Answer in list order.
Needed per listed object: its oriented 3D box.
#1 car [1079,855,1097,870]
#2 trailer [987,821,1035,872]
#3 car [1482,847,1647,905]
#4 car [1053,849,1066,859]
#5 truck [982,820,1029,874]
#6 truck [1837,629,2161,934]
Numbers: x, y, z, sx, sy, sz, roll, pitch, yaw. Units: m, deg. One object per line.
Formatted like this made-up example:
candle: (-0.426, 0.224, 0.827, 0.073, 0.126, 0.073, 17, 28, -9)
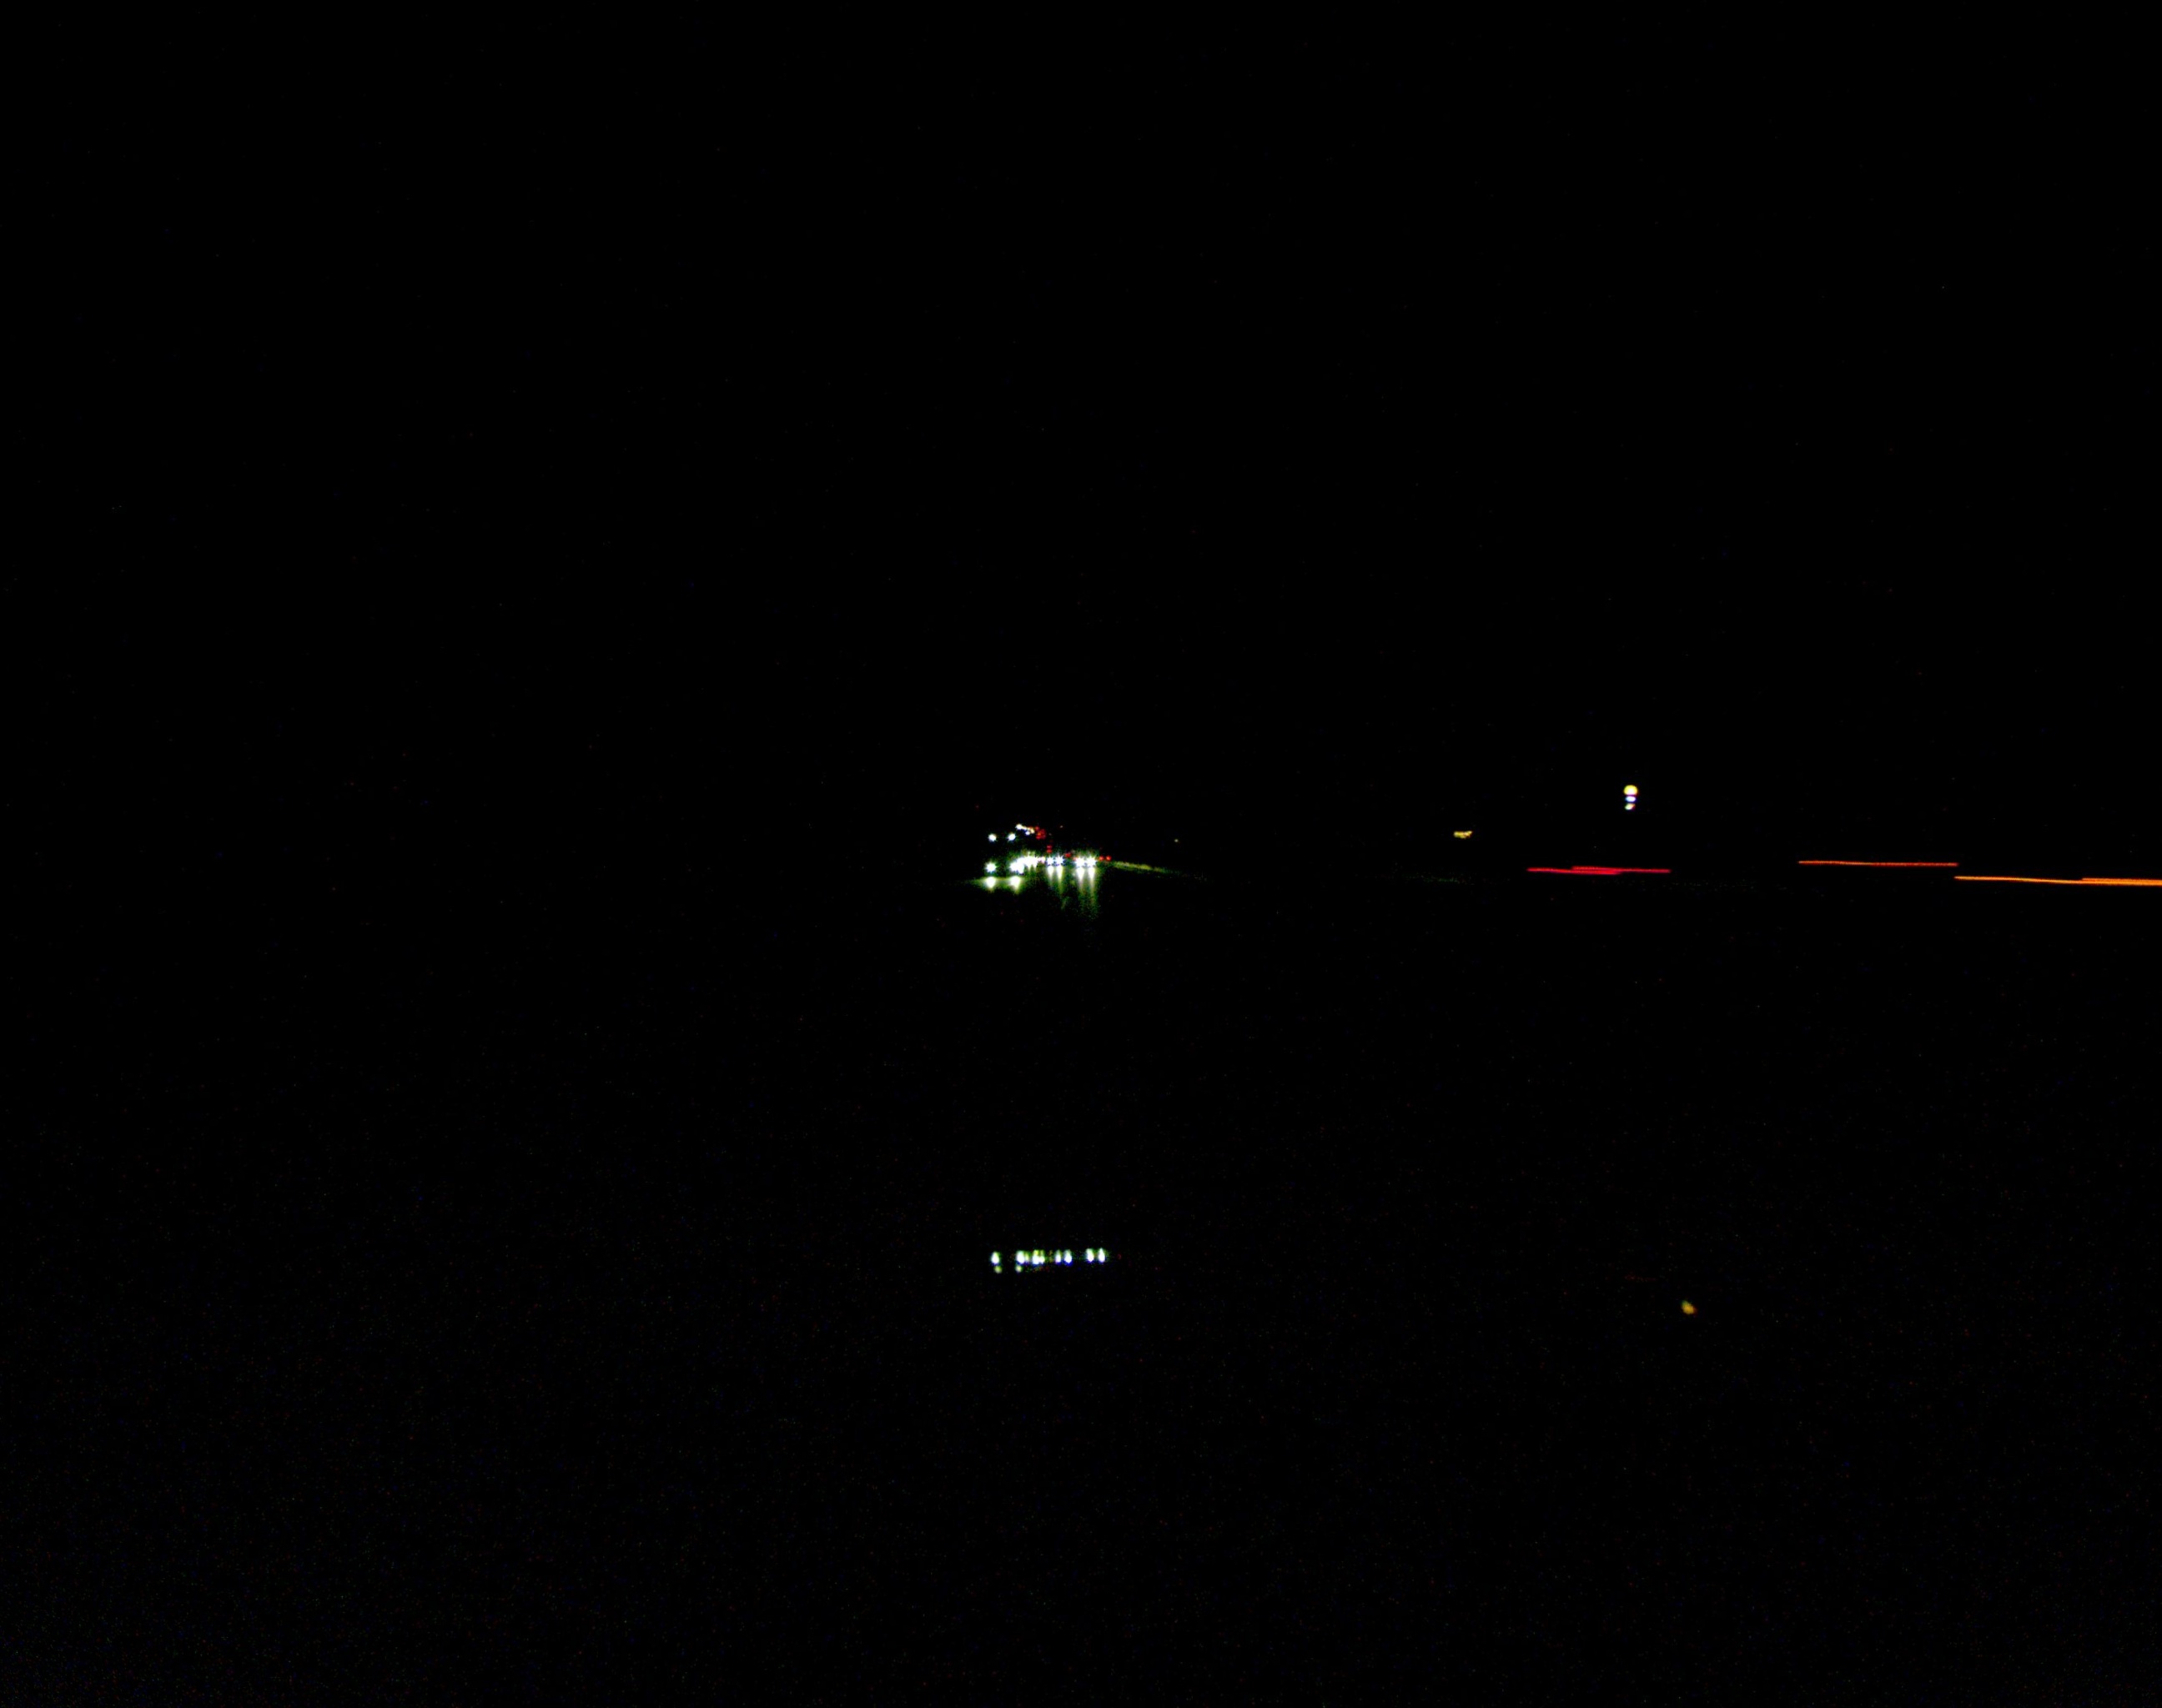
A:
car: (0.858, 1.034, 92.940, 2.011, 1.652, 4.000, -1, 1, 3)
trailer: (-6.556, -0.712, 73.678, 3.346, 4.408, 13.574, -2, 1, 0)
car: (13.132, 0.530, 21.006, 1.772, 1.376, 4.390, -2, 0, 0)
car: (-3.545, -0.035, 123.913, 1.939, 1.608, 4.000, -1, 1, 1)
truck: (-6.513, -0.636, 66.707, 3.346, 4.408, 6.992, -2, 1, 0)
truck: (17.213, -1.087, 10.622, 3.058, 4.413, 10.423, -2, 0, 1)
